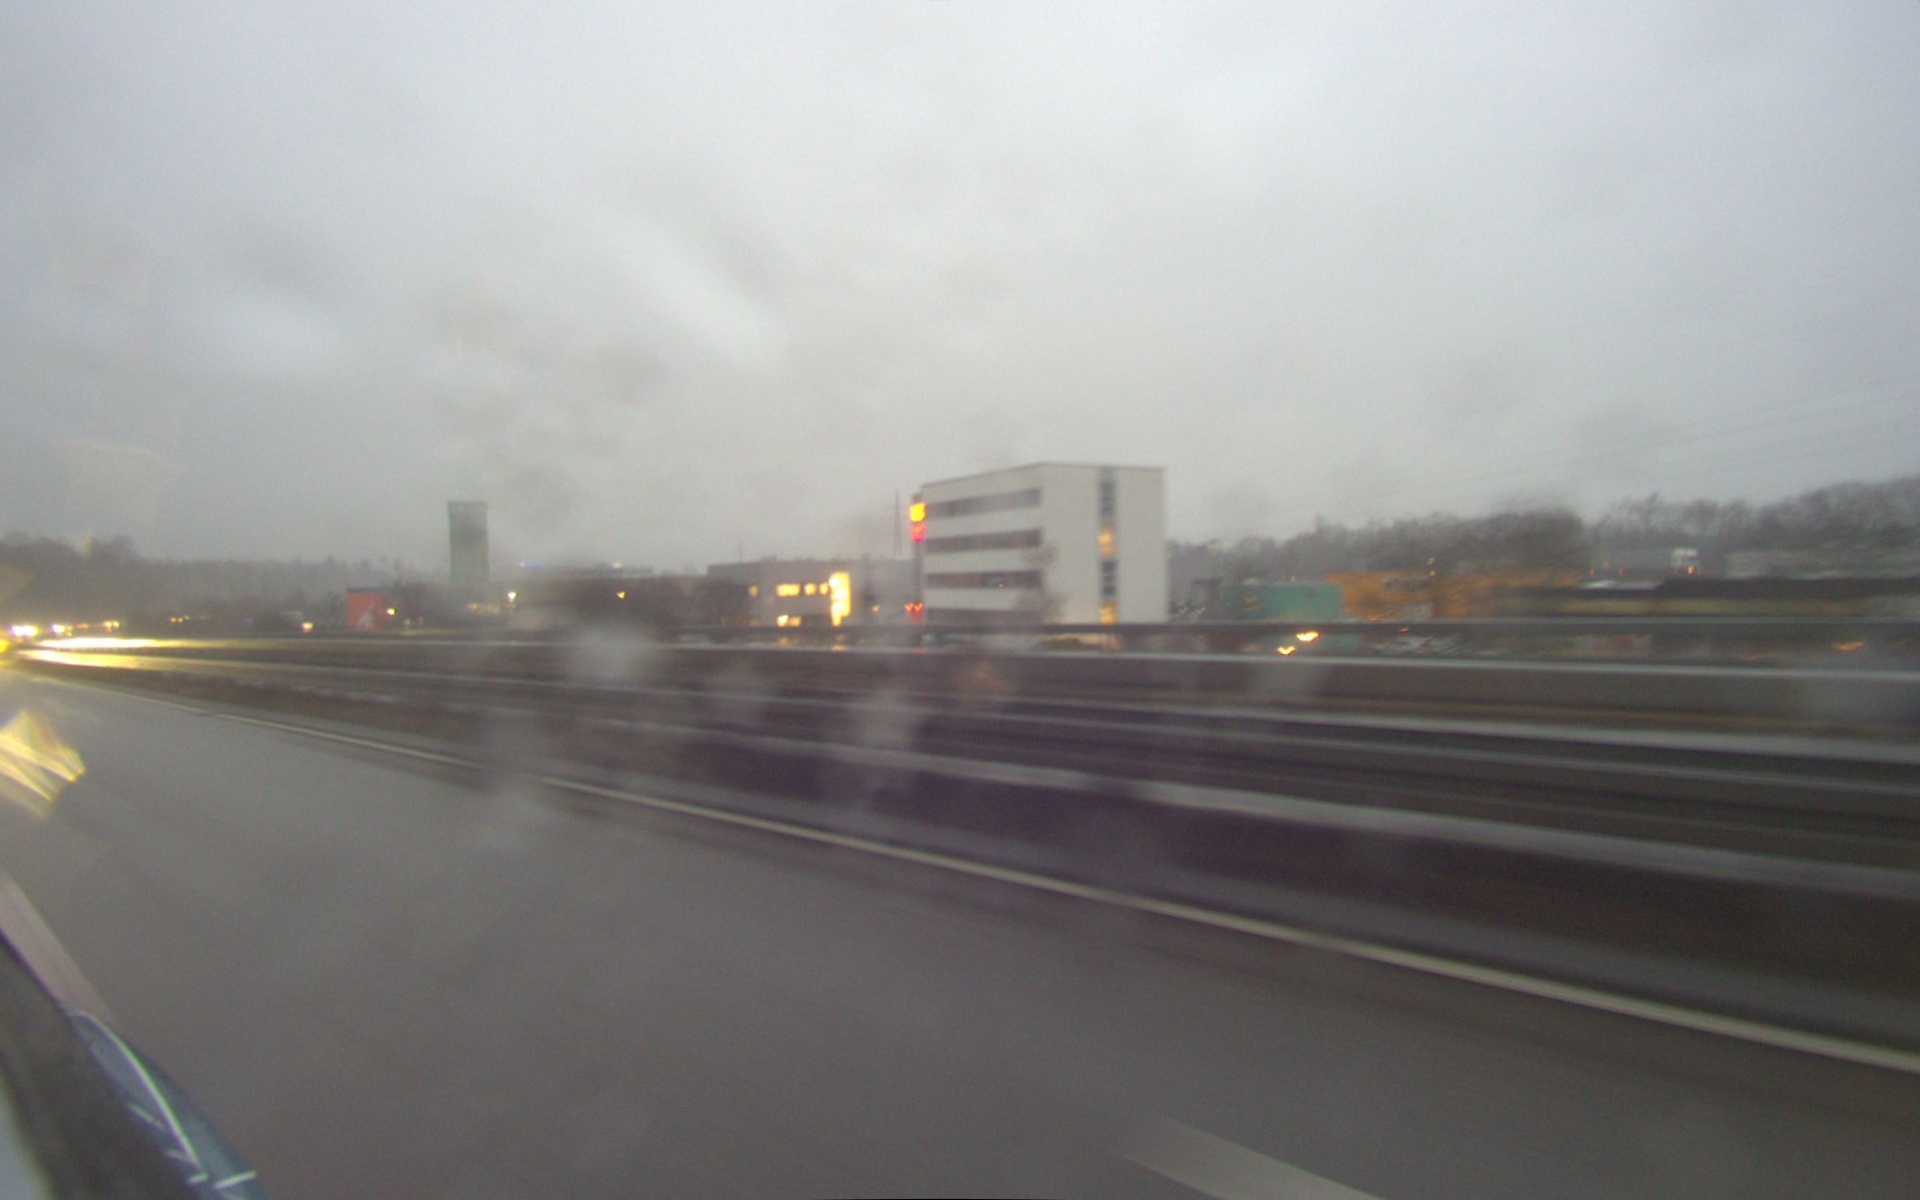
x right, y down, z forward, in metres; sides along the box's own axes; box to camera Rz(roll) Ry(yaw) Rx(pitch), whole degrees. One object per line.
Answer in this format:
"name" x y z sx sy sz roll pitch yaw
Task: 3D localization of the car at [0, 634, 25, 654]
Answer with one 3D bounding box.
"car" -96.065 4.427 102.508 1.970 1.863 3.675 -1 -1 -44
